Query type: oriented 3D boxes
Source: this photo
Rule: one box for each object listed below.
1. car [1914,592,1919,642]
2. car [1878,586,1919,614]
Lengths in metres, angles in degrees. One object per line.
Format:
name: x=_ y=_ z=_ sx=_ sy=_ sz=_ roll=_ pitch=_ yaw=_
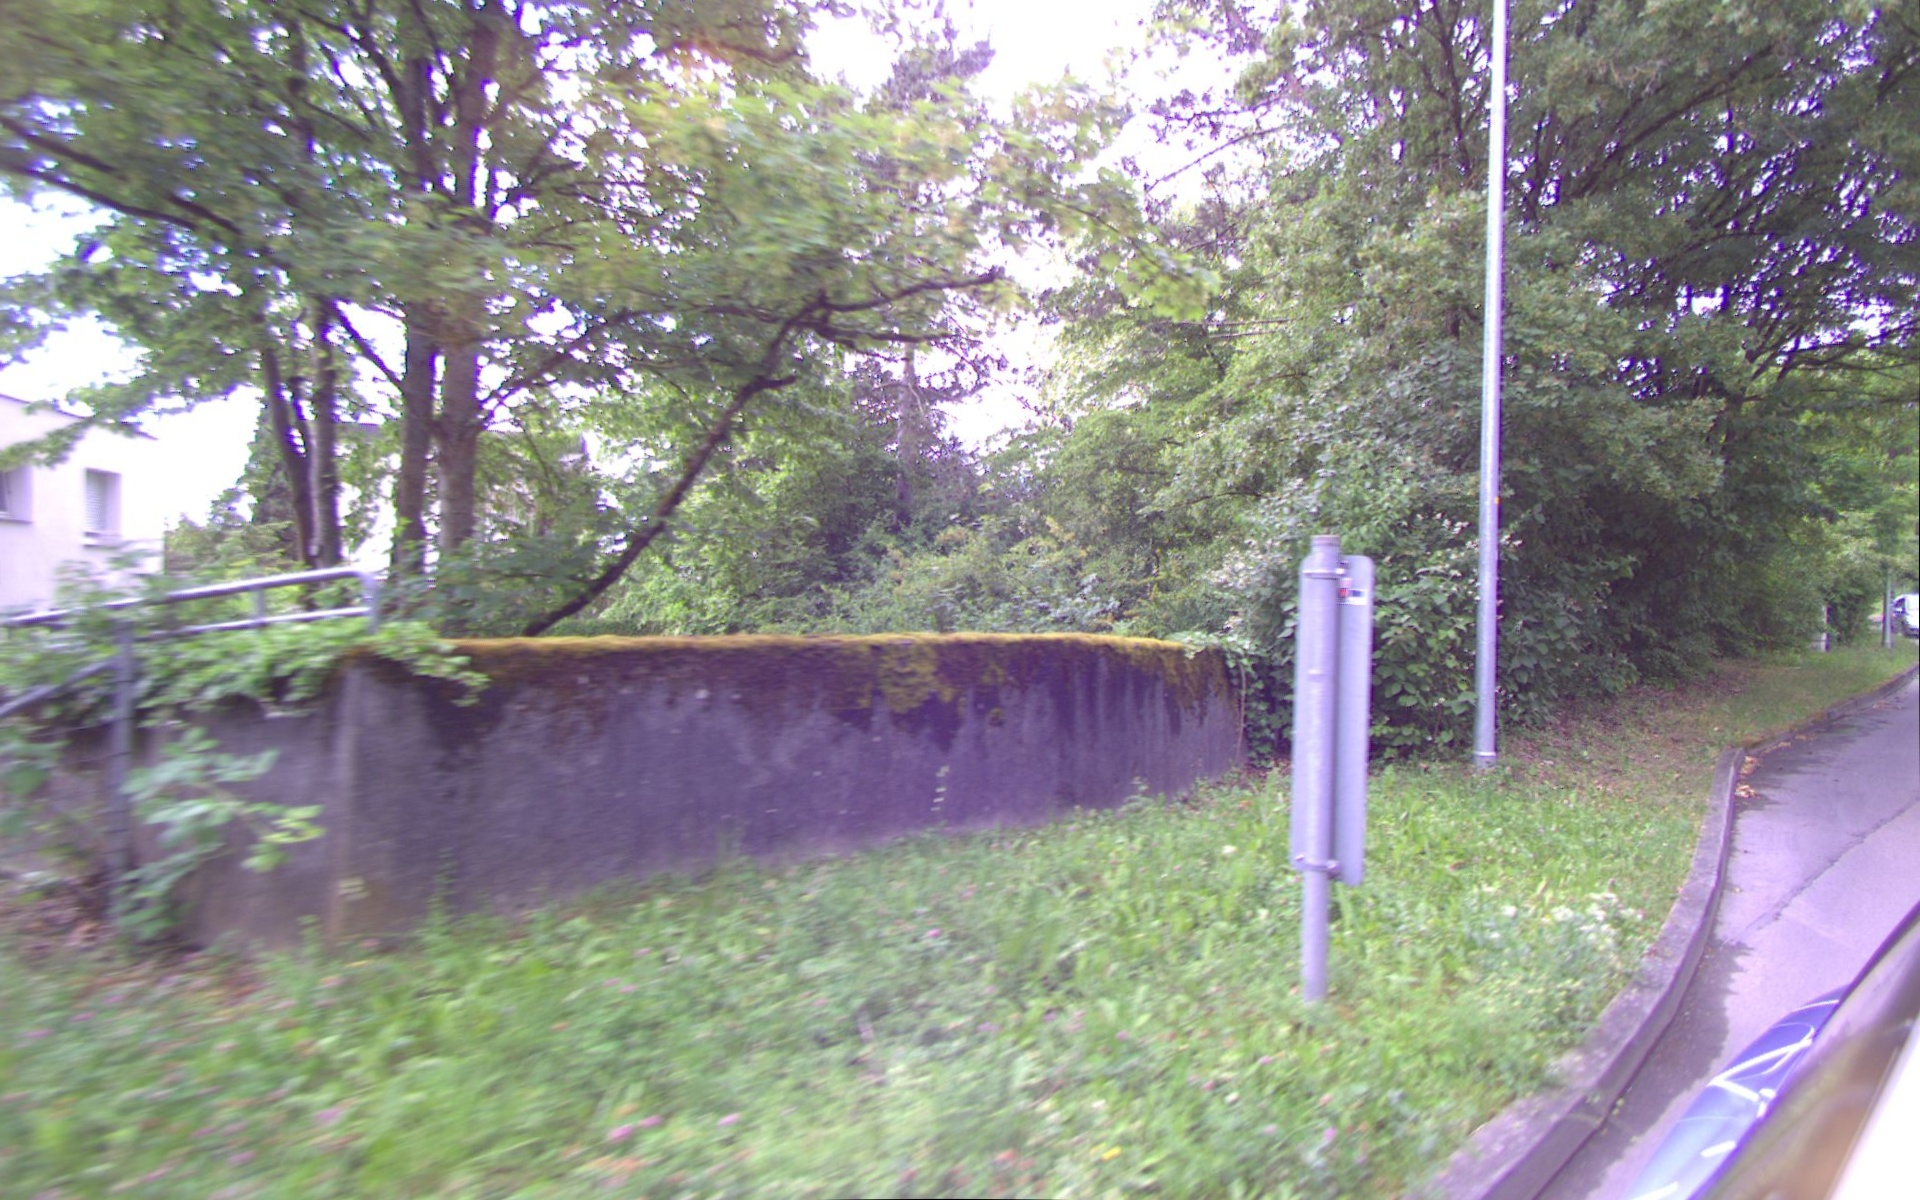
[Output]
car: x=36.898 y=0.587 z=37.589 sx=1.994 sy=1.715 sz=3.937 roll=-2 pitch=0 yaw=45
car: x=52.864 y=-0.030 z=55.930 sx=1.831 sy=1.511 sz=3.971 roll=-1 pitch=0 yaw=21
